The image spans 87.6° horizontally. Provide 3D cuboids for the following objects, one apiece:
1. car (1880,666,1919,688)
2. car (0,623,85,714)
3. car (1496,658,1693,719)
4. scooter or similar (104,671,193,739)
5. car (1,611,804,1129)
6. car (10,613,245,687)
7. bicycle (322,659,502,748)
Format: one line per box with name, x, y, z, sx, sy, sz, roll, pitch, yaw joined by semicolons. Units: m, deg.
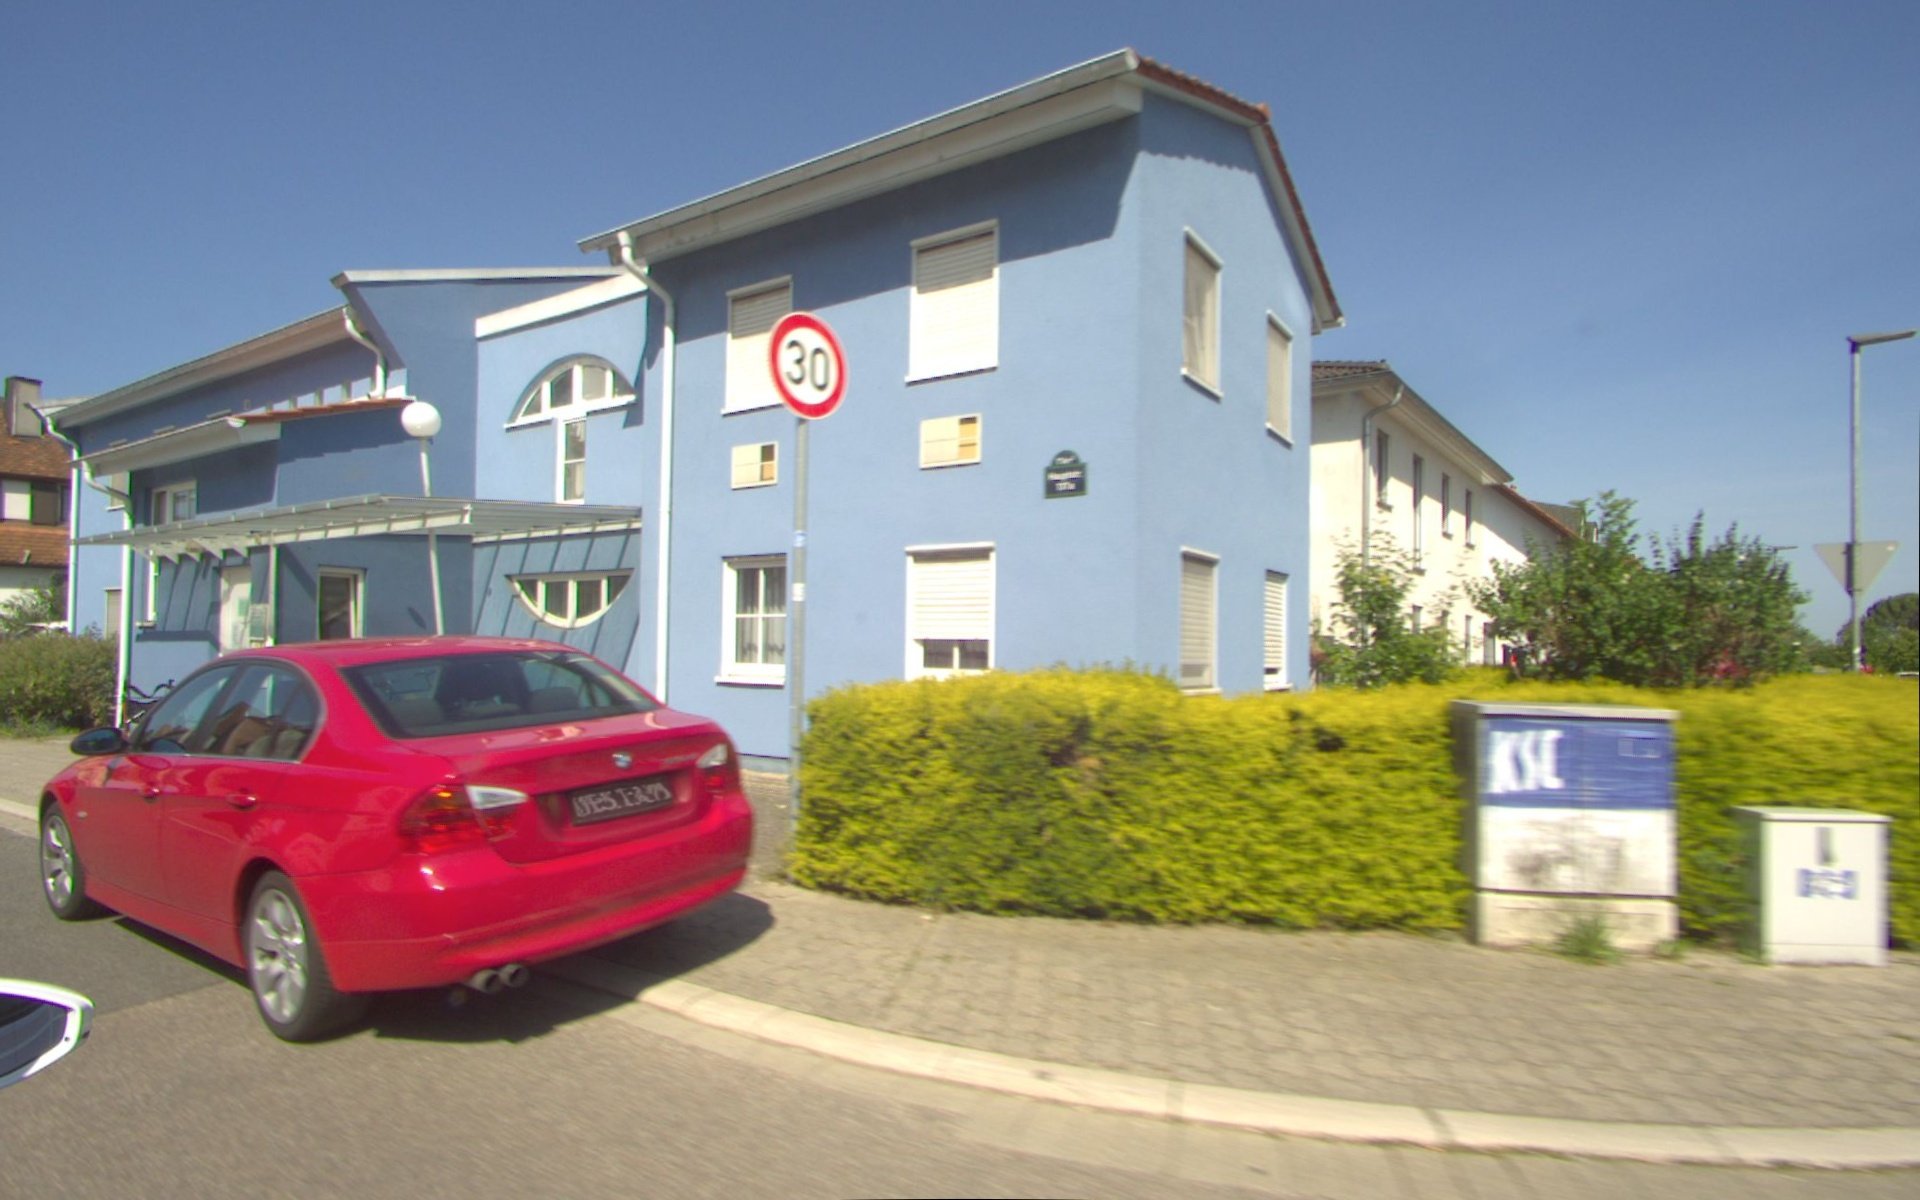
car;59.600;4.833;63.155;1.646;1.216;3.796;-1;-2;32
car;-16.789;1.127;17.086;4.087;1.437;1.687;-1;-3;33
car;16.847;2.323;26.698;4.333;1.446;1.688;-2;-5;38
scooter or similar;-10.729;1.375;13.243;0.817;0.825;0.725;-1;-2;37
car;-2.946;0.834;4.932;4.294;1.514;1.728;0;0;34
car;-20.558;1.220;24.888;1.788;1.678;4.165;-1;-2;35
bicycle;-6.963;1.281;12.832;0.648;0.993;1.950;0;-1;34
